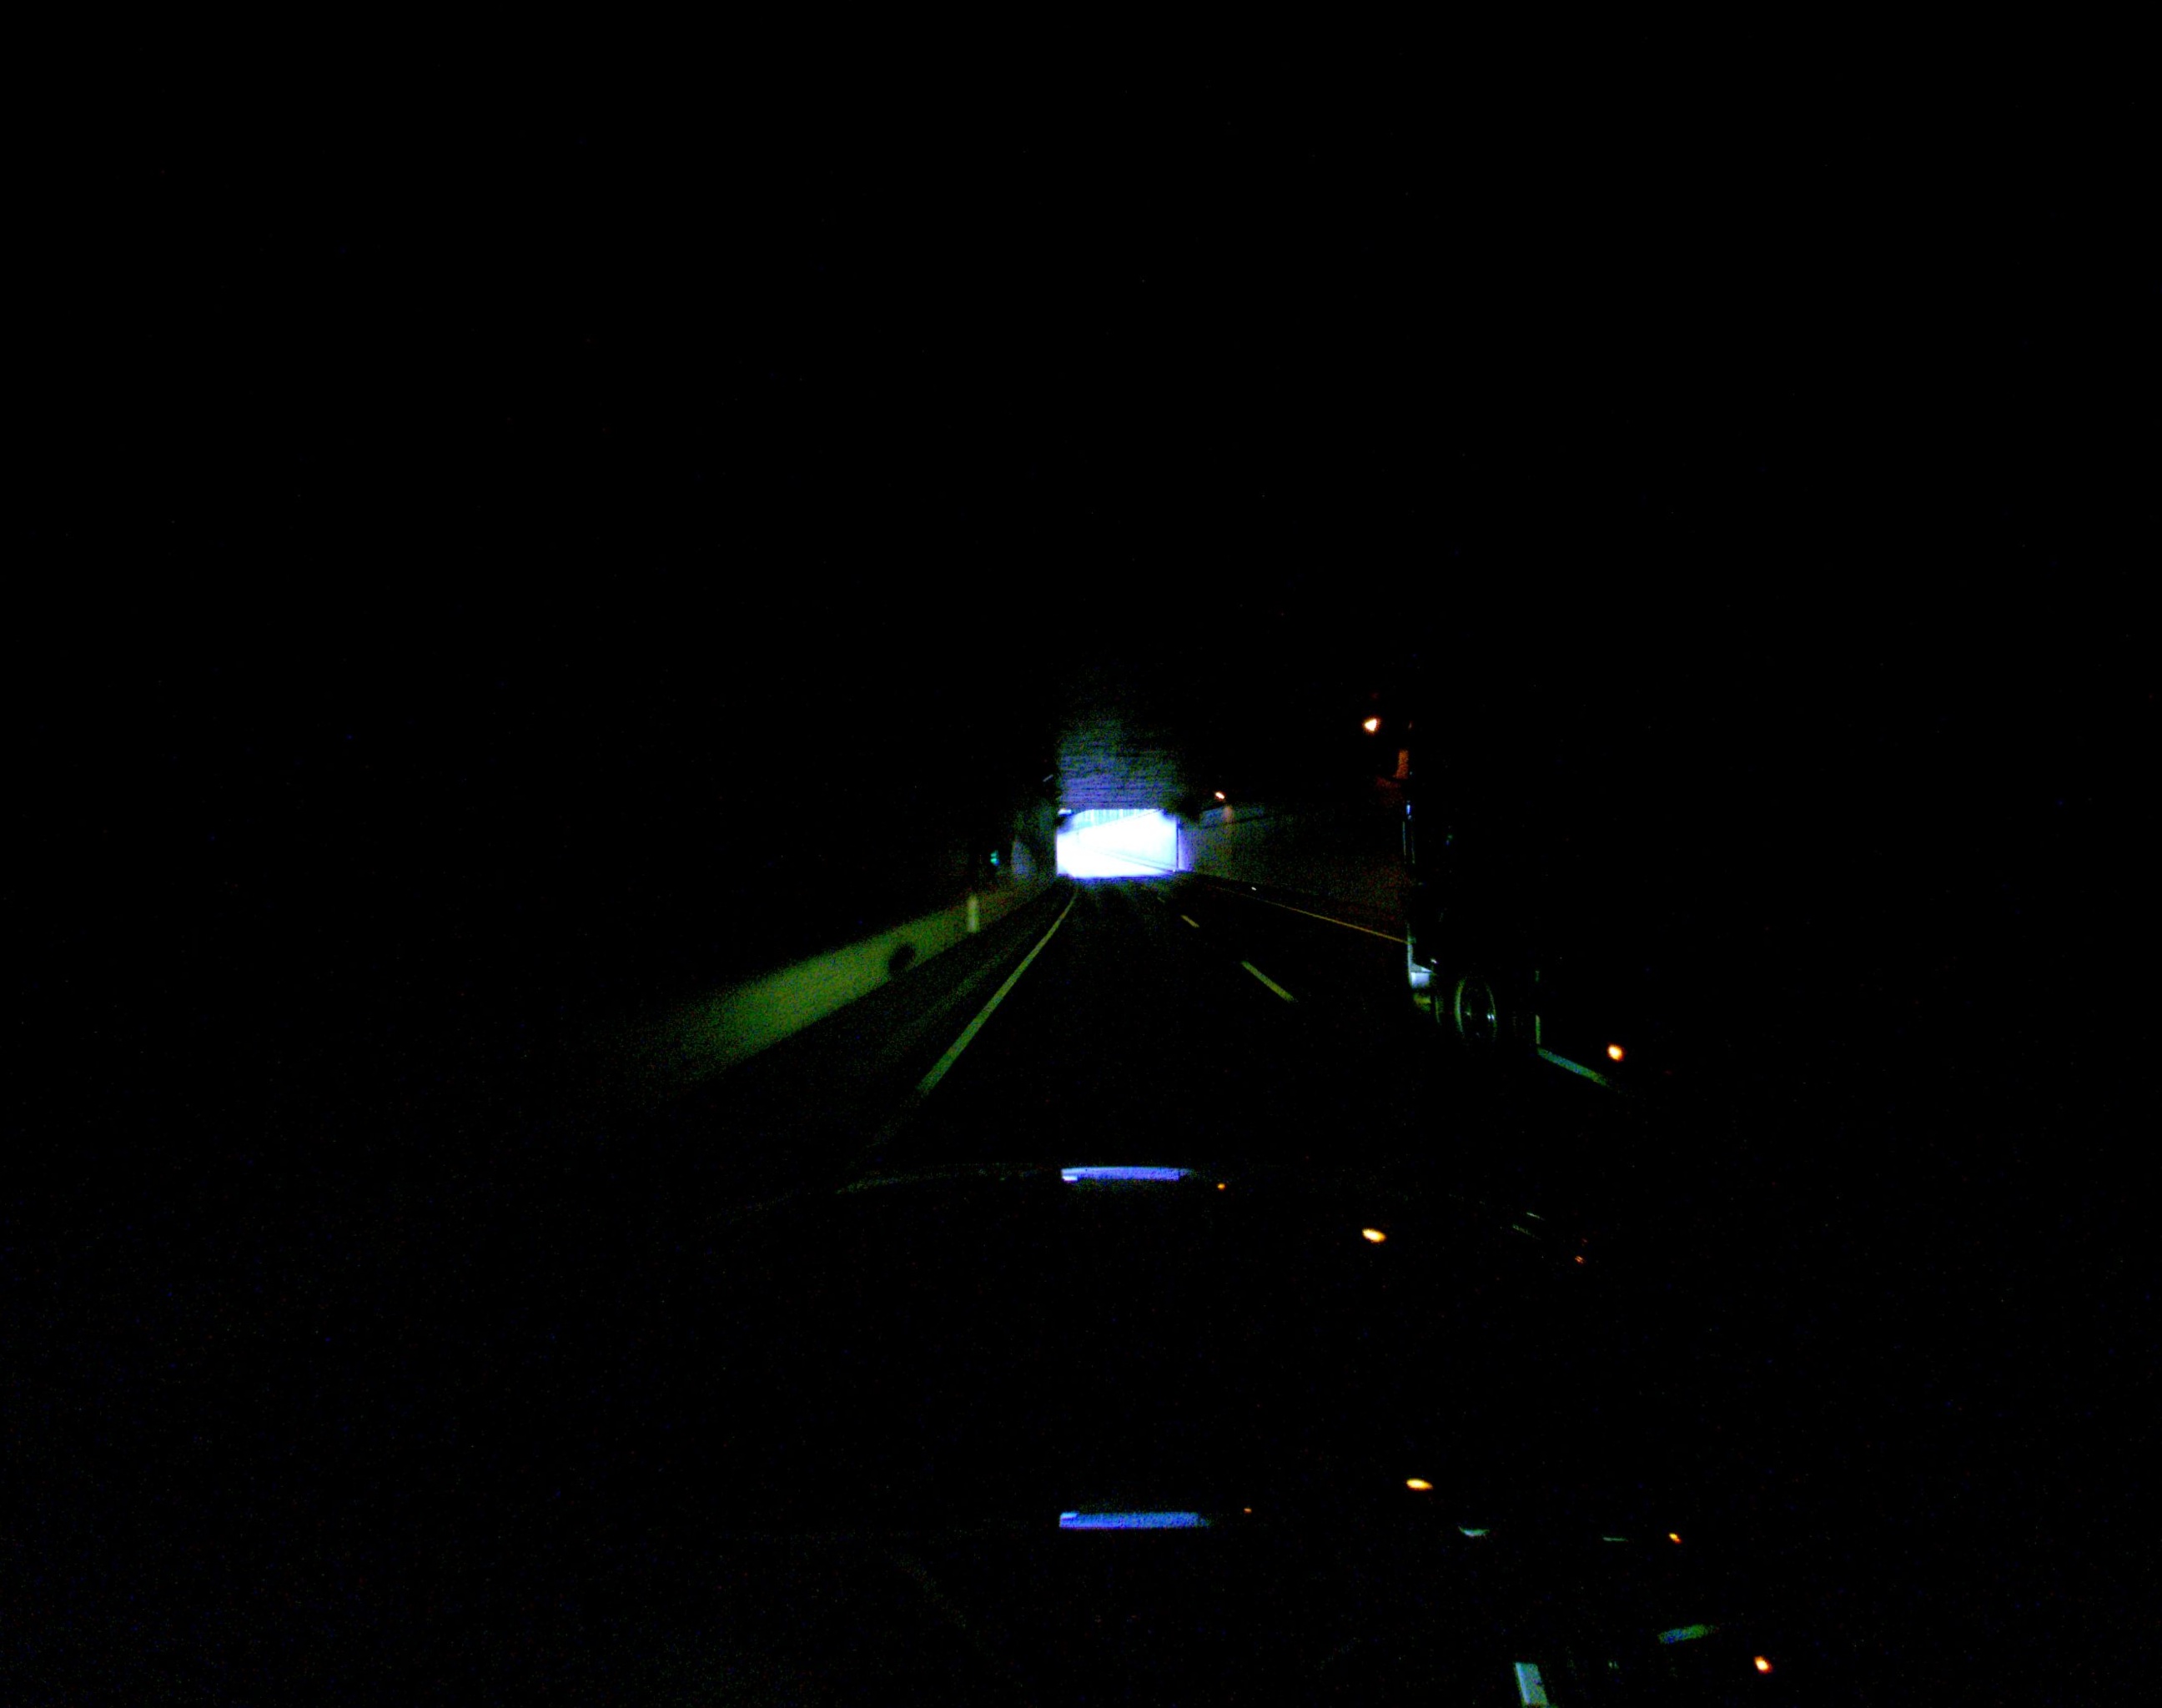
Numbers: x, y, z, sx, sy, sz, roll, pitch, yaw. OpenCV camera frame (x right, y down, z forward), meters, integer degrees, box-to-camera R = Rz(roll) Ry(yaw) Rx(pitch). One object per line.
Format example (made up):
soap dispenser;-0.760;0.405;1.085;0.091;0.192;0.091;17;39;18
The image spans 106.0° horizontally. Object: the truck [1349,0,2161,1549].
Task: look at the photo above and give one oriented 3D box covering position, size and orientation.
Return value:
truck;3.612;-0.565;1.786;2.879;3.913;9.910;-1;0;1
